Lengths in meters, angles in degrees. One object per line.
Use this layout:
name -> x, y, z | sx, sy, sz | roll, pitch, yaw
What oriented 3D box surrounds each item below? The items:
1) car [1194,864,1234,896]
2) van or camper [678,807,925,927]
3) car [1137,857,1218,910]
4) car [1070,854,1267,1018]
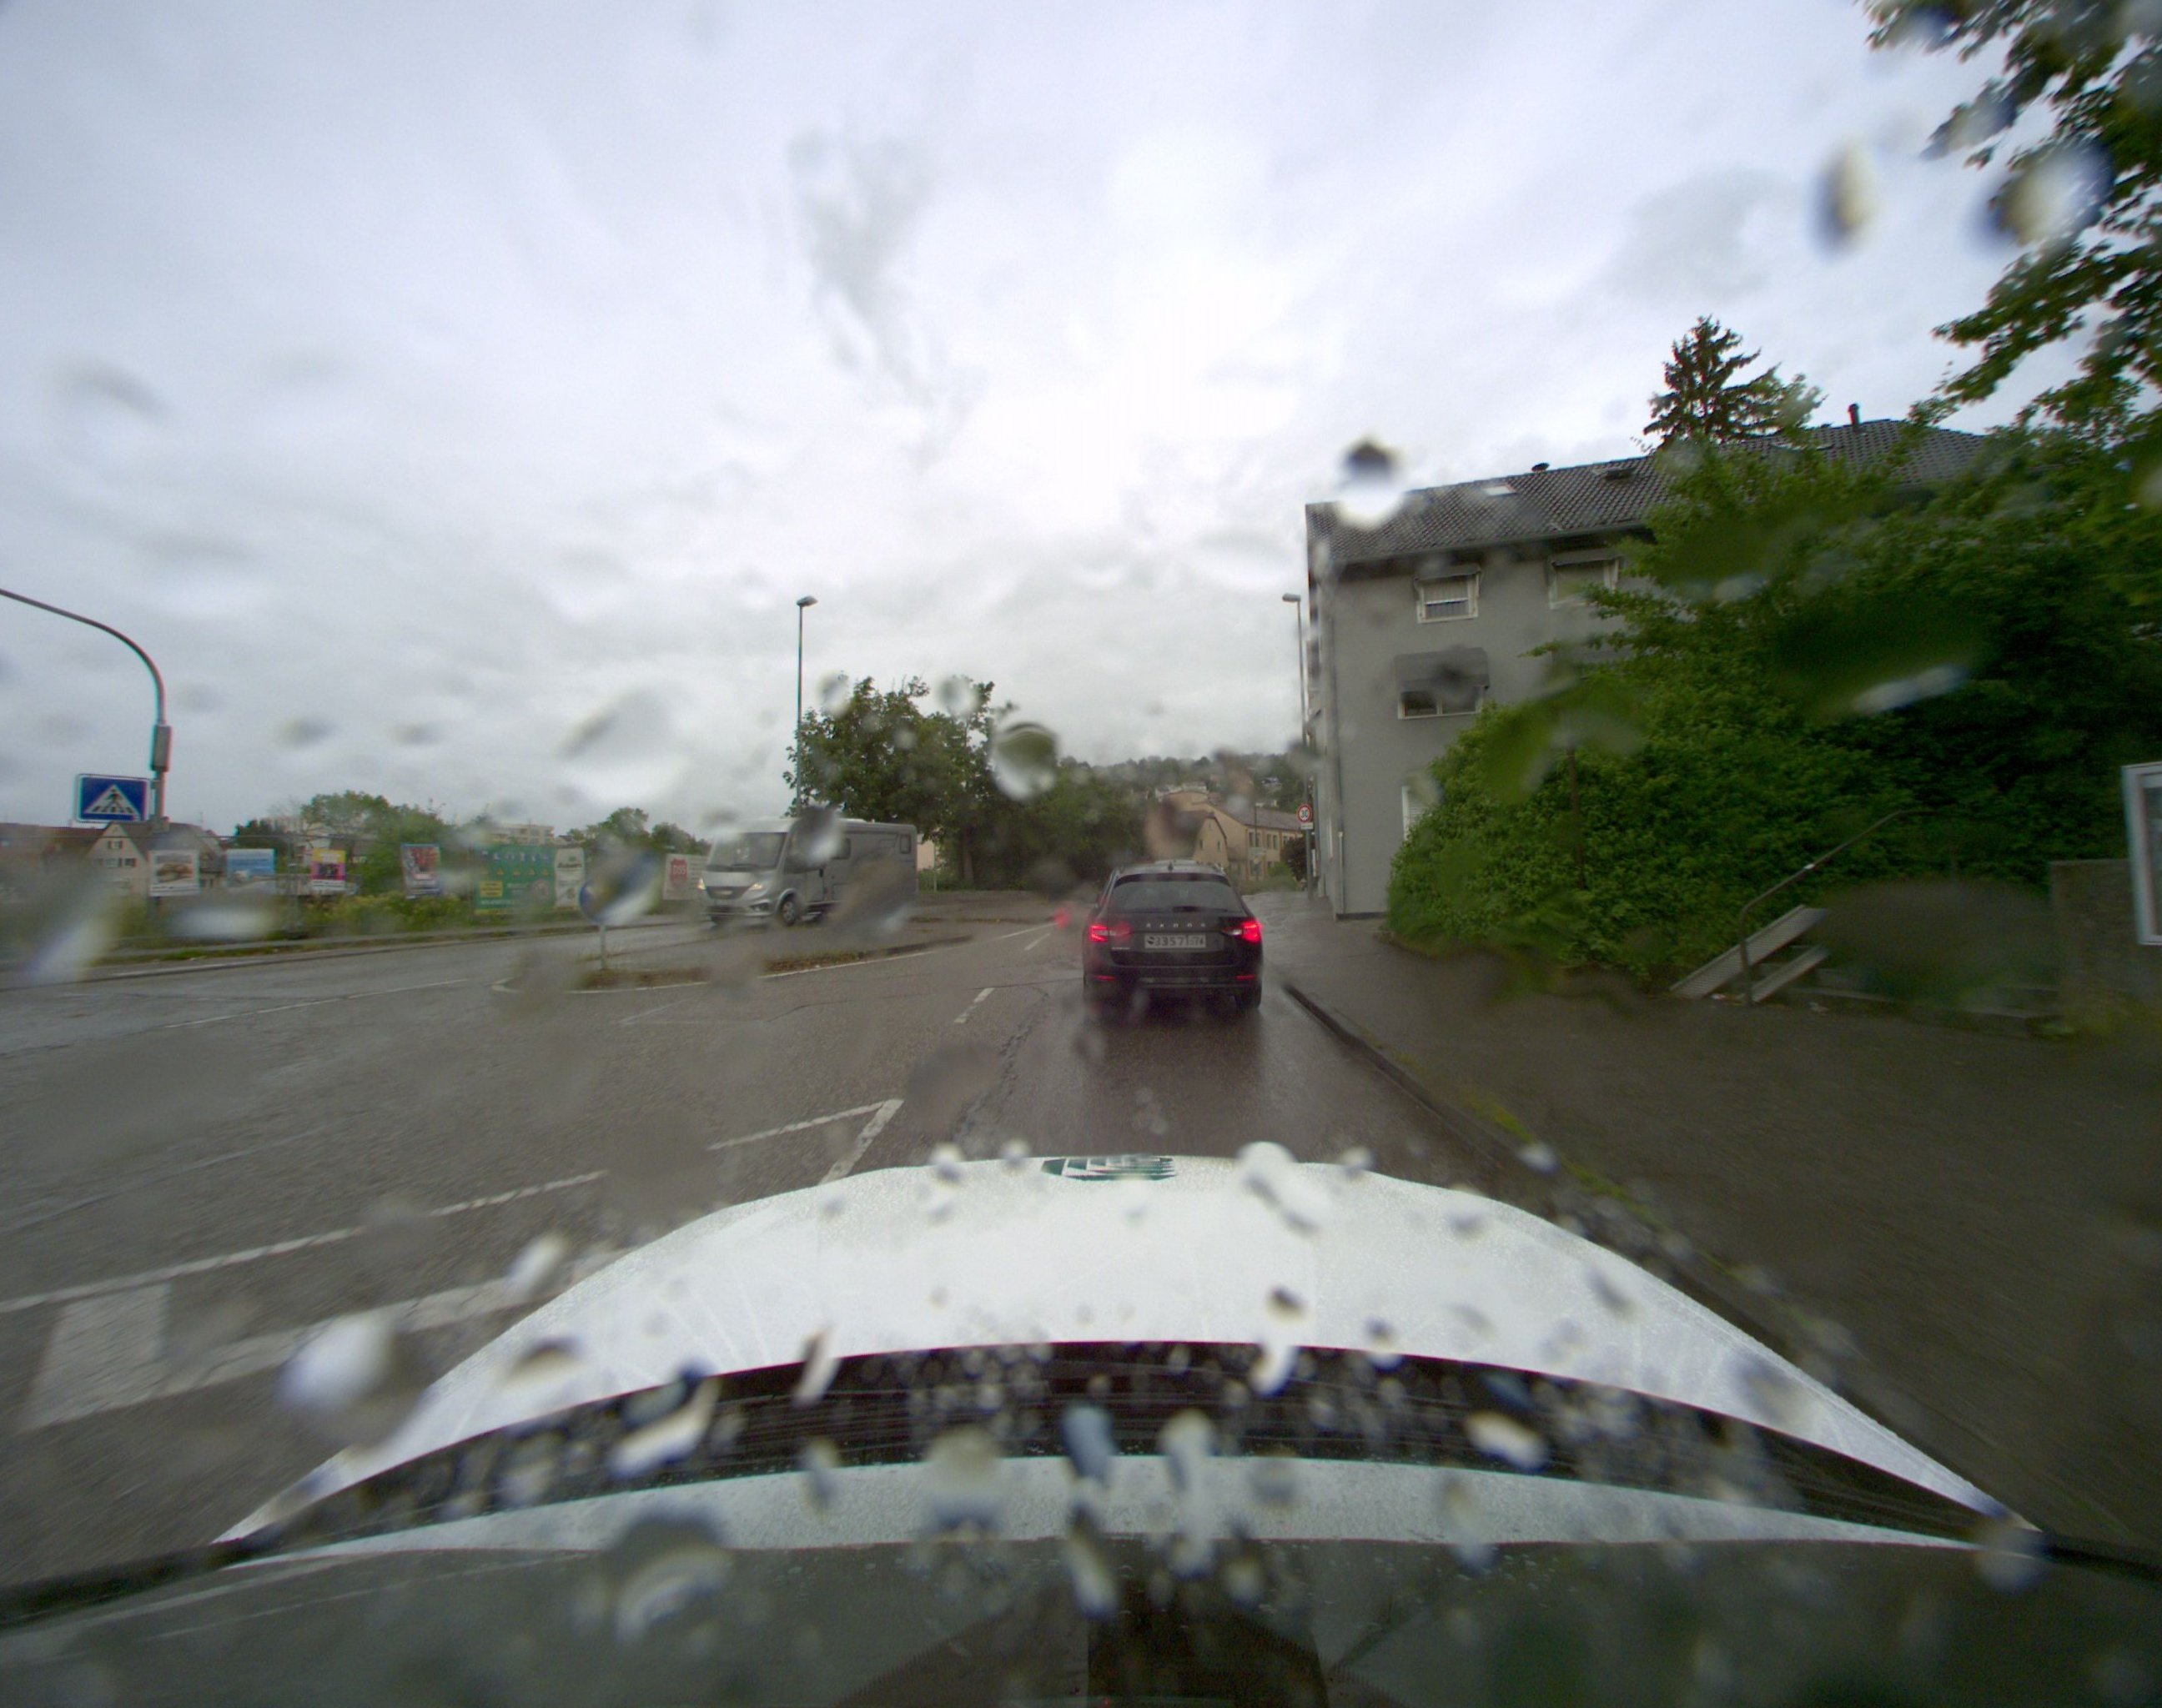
car -> 6.450, 1.205, 39.194 | 1.641, 1.387, 3.933 | -1, 0, 13
van or camper -> -6.998, 0.335, 21.677 | 2.348, 2.656, 7.053 | -1, -1, 19
car -> 2.905, 0.908, 23.835 | 1.805, 1.360, 4.003 | -3, -4, 14
car -> 0.897, 0.775, 9.541 | 1.775, 1.483, 4.248 | 0, -1, 3
